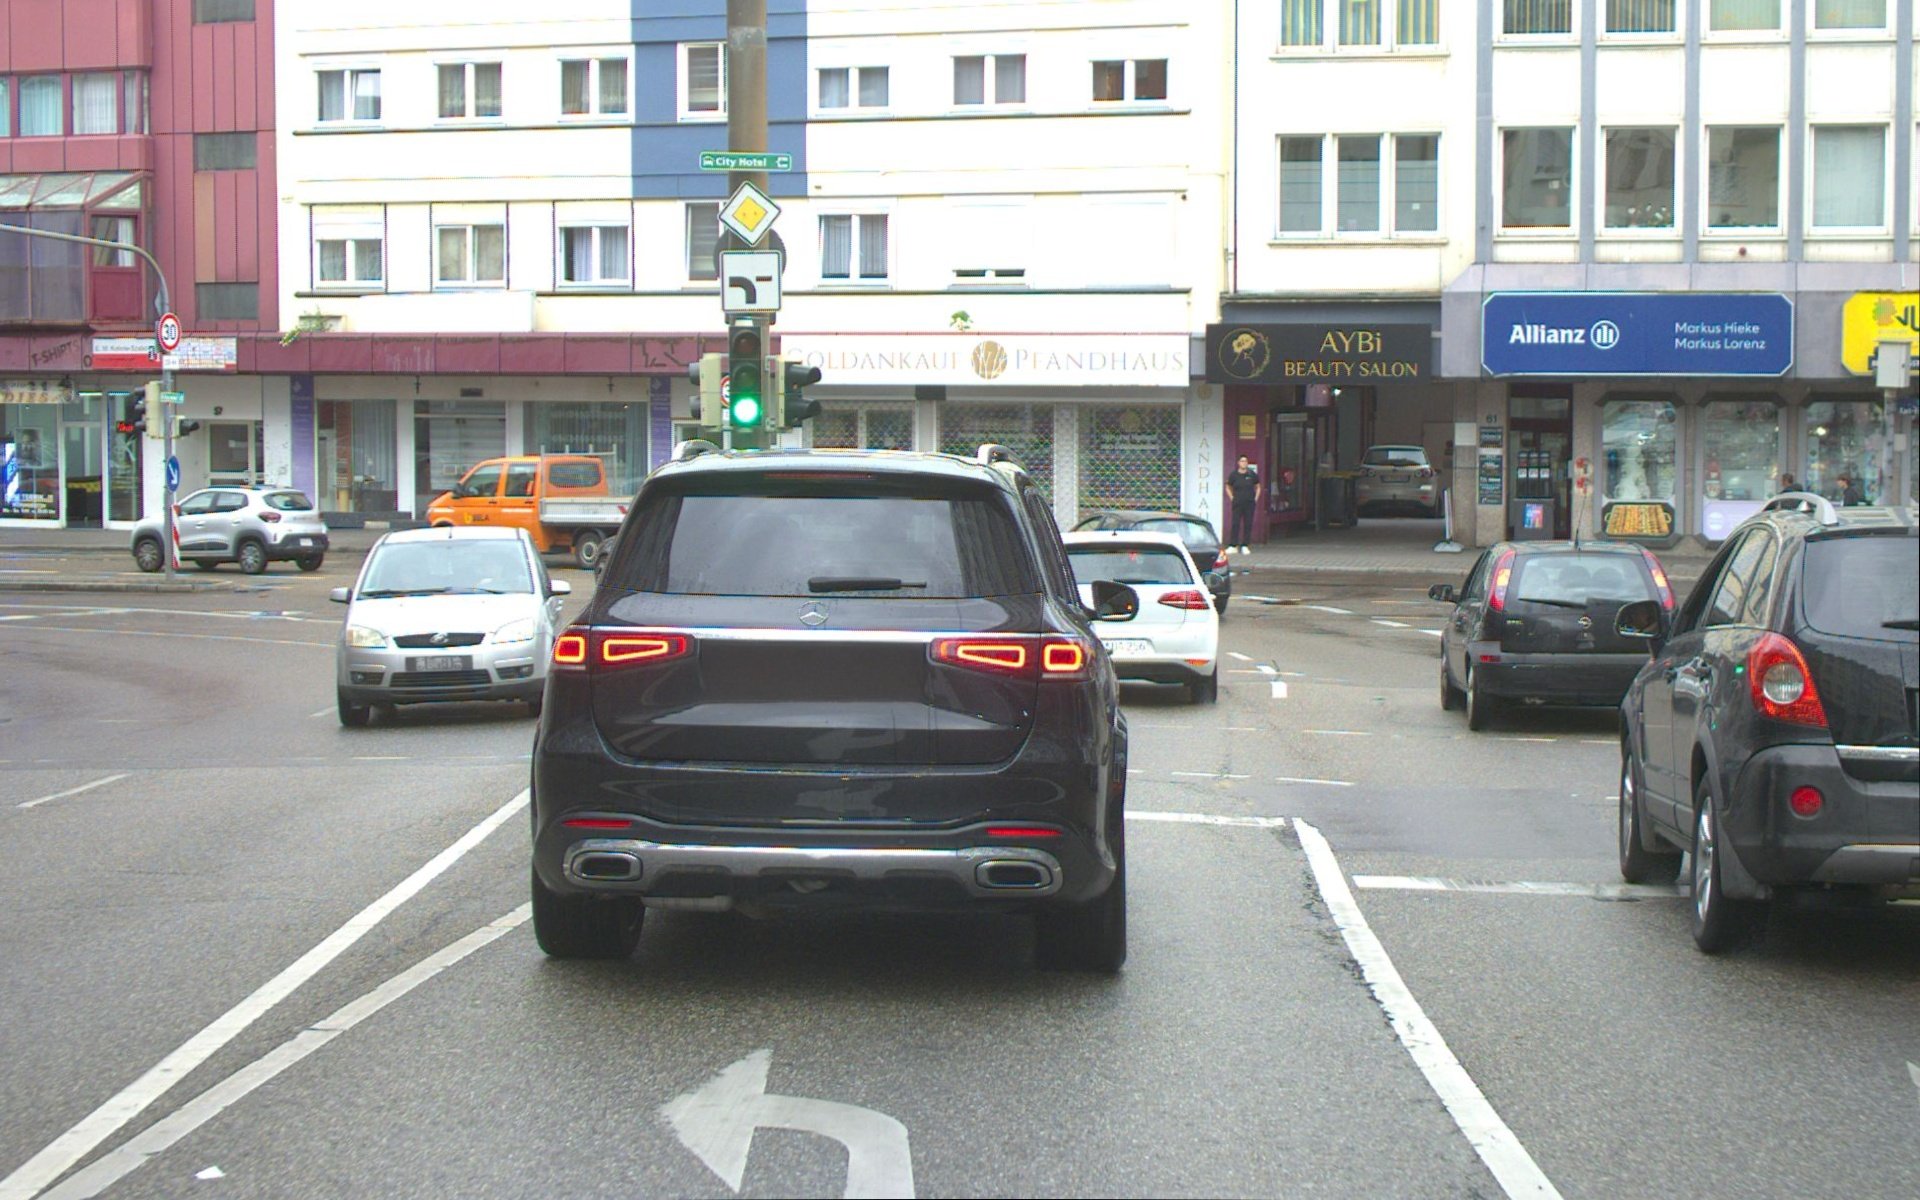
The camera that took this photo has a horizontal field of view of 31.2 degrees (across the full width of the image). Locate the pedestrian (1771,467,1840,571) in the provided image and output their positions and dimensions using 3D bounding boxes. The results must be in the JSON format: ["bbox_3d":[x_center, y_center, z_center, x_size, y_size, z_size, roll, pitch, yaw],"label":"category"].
[{"bbox_3d":[14.414,-1.385,58.636,1.030,1.683,0.830,1,7,8],"label":"pedestrian"}]

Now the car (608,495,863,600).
[{"bbox_3d":[-3.366,-0.794,50.842,1.993,1.481,4.237,-1,2,-32],"label":"car"}]

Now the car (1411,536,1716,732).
[{"bbox_3d":[4.648,0.209,26.980,1.767,1.392,4.000,0,1,1],"label":"car"}]

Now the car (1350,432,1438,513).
[{"bbox_3d":[9.249,-2.694,73.079,1.797,1.664,3.999,0,1,8],"label":"car"}]

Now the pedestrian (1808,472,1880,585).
[{"bbox_3d":[14.744,-1.203,57.363,1.030,1.793,0.830,1,7,8],"label":"pedestrian"}]

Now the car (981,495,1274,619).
[{"bbox_3d":[2.365,-0.646,49.728,1.823,1.653,4.495,2,1,-35],"label":"car"}]

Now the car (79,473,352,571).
[{"bbox_3d":[-13.012,-1.373,59.996,4.657,1.510,1.927,3,0,34],"label":"car"}]

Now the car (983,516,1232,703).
[{"bbox_3d":[1.231,0.028,30.534,1.873,1.489,4.401,2,1,-1],"label":"car"}]

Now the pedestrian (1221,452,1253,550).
[{"bbox_3d":[4.974,-1.780,61.692,0.564,1.683,0.756,0,7,6],"label":"pedestrian"}]

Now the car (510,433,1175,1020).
[{"bbox_3d":[-0.456,0.341,13.106,2.038,1.792,4.663,2,1,-2],"label":"car"}]

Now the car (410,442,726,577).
[{"bbox_3d":[-6.964,-1.611,60.825,5.422,2.220,2.245,2,1,36],"label":"car"}]

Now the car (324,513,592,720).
[{"bbox_3d":[-4.227,0.107,29.515,1.735,1.587,4.176,-2,1,-1],"label":"car"}]

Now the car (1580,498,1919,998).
[{"bbox_3d":[3.741,0.486,13.984,1.898,1.689,4.505,2,1,4],"label":"car"}]
